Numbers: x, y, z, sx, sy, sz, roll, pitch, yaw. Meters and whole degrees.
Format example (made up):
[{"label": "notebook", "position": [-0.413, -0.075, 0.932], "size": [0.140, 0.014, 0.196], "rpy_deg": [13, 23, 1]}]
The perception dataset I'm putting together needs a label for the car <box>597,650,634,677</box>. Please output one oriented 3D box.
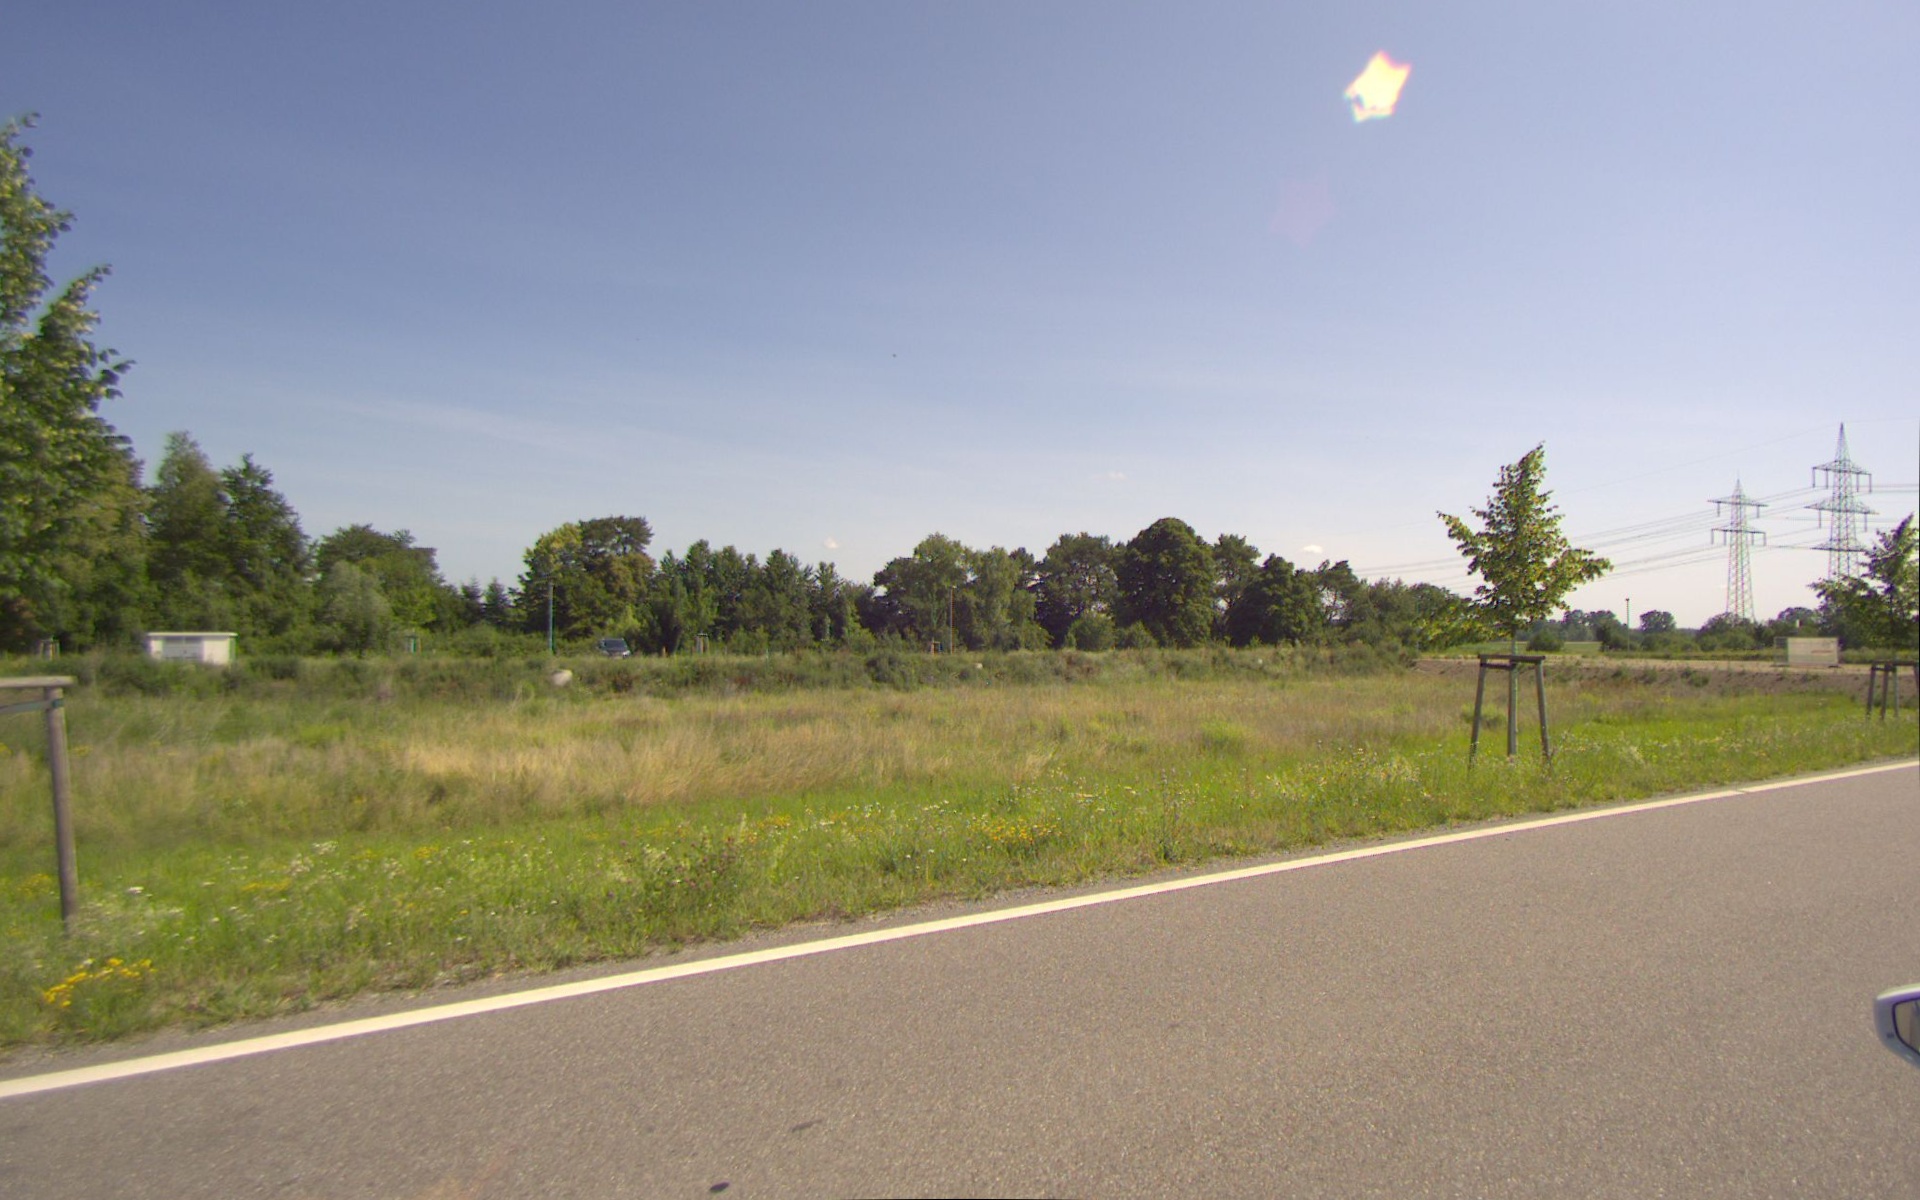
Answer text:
[{"label": "car", "position": [-20.614, 3.778, 60.029], "size": [1.494, 1.555, 3.530], "rpy_deg": [2, -3, -29]}]
